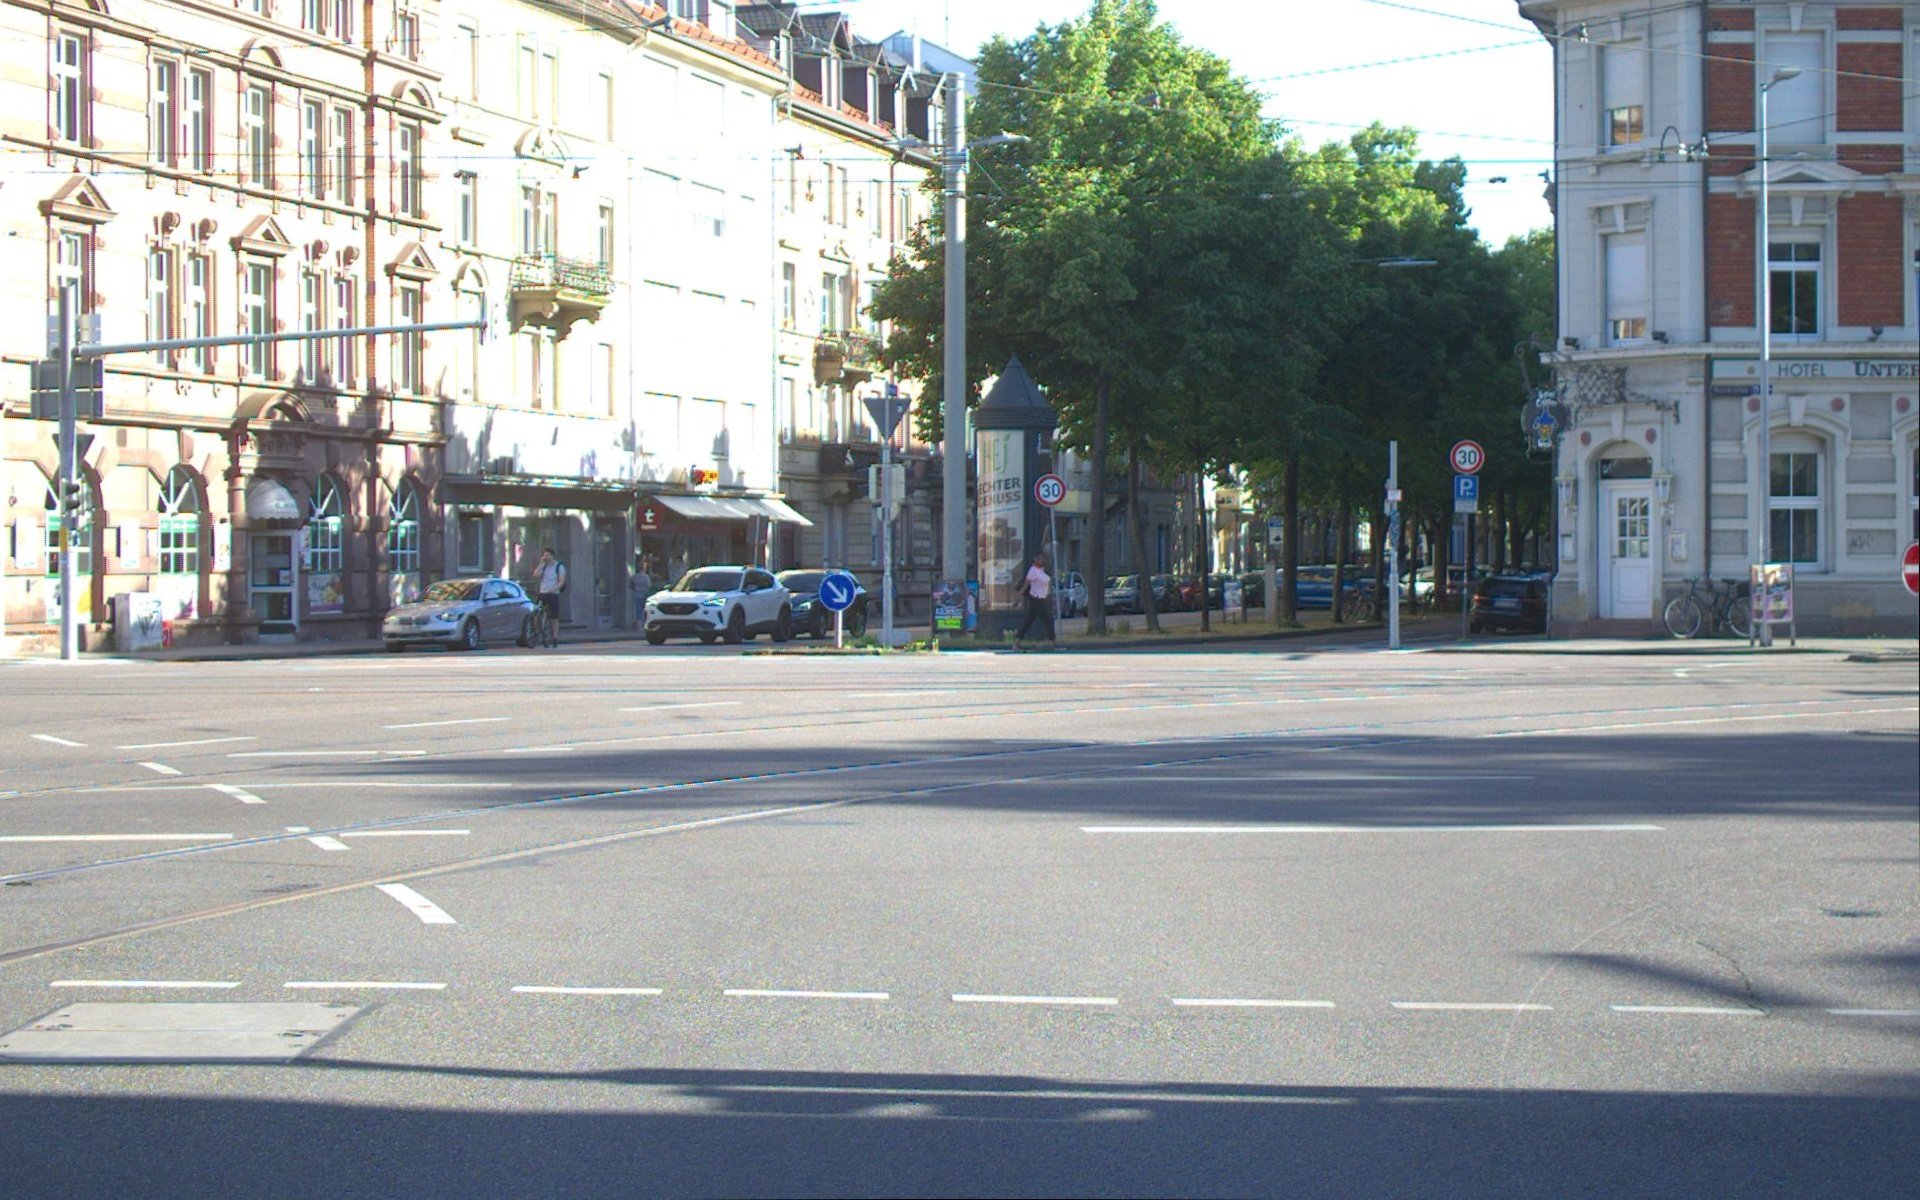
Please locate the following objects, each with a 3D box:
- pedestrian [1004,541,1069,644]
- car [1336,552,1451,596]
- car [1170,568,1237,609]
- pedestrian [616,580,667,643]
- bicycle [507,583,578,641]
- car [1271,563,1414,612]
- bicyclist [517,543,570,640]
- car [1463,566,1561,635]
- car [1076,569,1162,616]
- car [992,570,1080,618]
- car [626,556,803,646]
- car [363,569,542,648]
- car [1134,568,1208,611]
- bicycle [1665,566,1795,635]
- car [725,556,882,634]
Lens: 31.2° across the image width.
[{"bbox_3d":[1.307,-0.132,58.467,1.046,1.738,0.808,0,1,6],"label":"pedestrian"},{"bbox_3d":[16.854,-1.012,133.647,3.993,1.700,1.997,0,1,30],"label":"car"},{"bbox_3d":[9.692,-0.465,136.354,1.766,1.544,4.387,0,1,16],"label":"car"},{"bbox_3d":[-7.884,0.276,85.031,0.929,1.530,1.136,0,1,14],"label":"pedestrian"},{"bbox_3d":[-7.890,0.218,65.032,0.680,1.062,2.124,0,1,12],"label":"bicycle"},{"bbox_3d":[12.847,-0.439,115.501,4.382,1.606,1.997,0,1,27],"label":"car"},{"bbox_3d":[-7.880,-0.161,65.068,0.679,1.814,1.070,0,1,12],"label":"bicyclist"},{"bbox_3d":[13.266,-0.011,82.464,1.995,1.579,3.998,0,1,14],"label":"car"},{"bbox_3d":[5.700,-0.296,122.687,1.995,1.607,4.387,0,1,17],"label":"car"},{"bbox_3d":[2.481,-0.220,110.985,1.995,1.481,3.998,0,1,14],"label":"car"},{"bbox_3d":[-4.765,-0.016,67.346,1.995,1.678,4.387,0,1,17],"label":"car"},{"bbox_3d":[-9.854,0.150,67.071,1.900,1.450,3.997,0,1,17],"label":"car"},{"bbox_3d":[8.026,-0.415,130.477,1.839,1.547,4.387,0,1,17],"label":"car"},{"bbox_3d":[12.856,0.008,57.413,2.085,1.120,0.367,1,0,-4],"label":"bicycle"},{"bbox_3d":[-3.320,-0.134,73.860,1.995,1.606,4.387,0,1,17],"label":"car"}]
